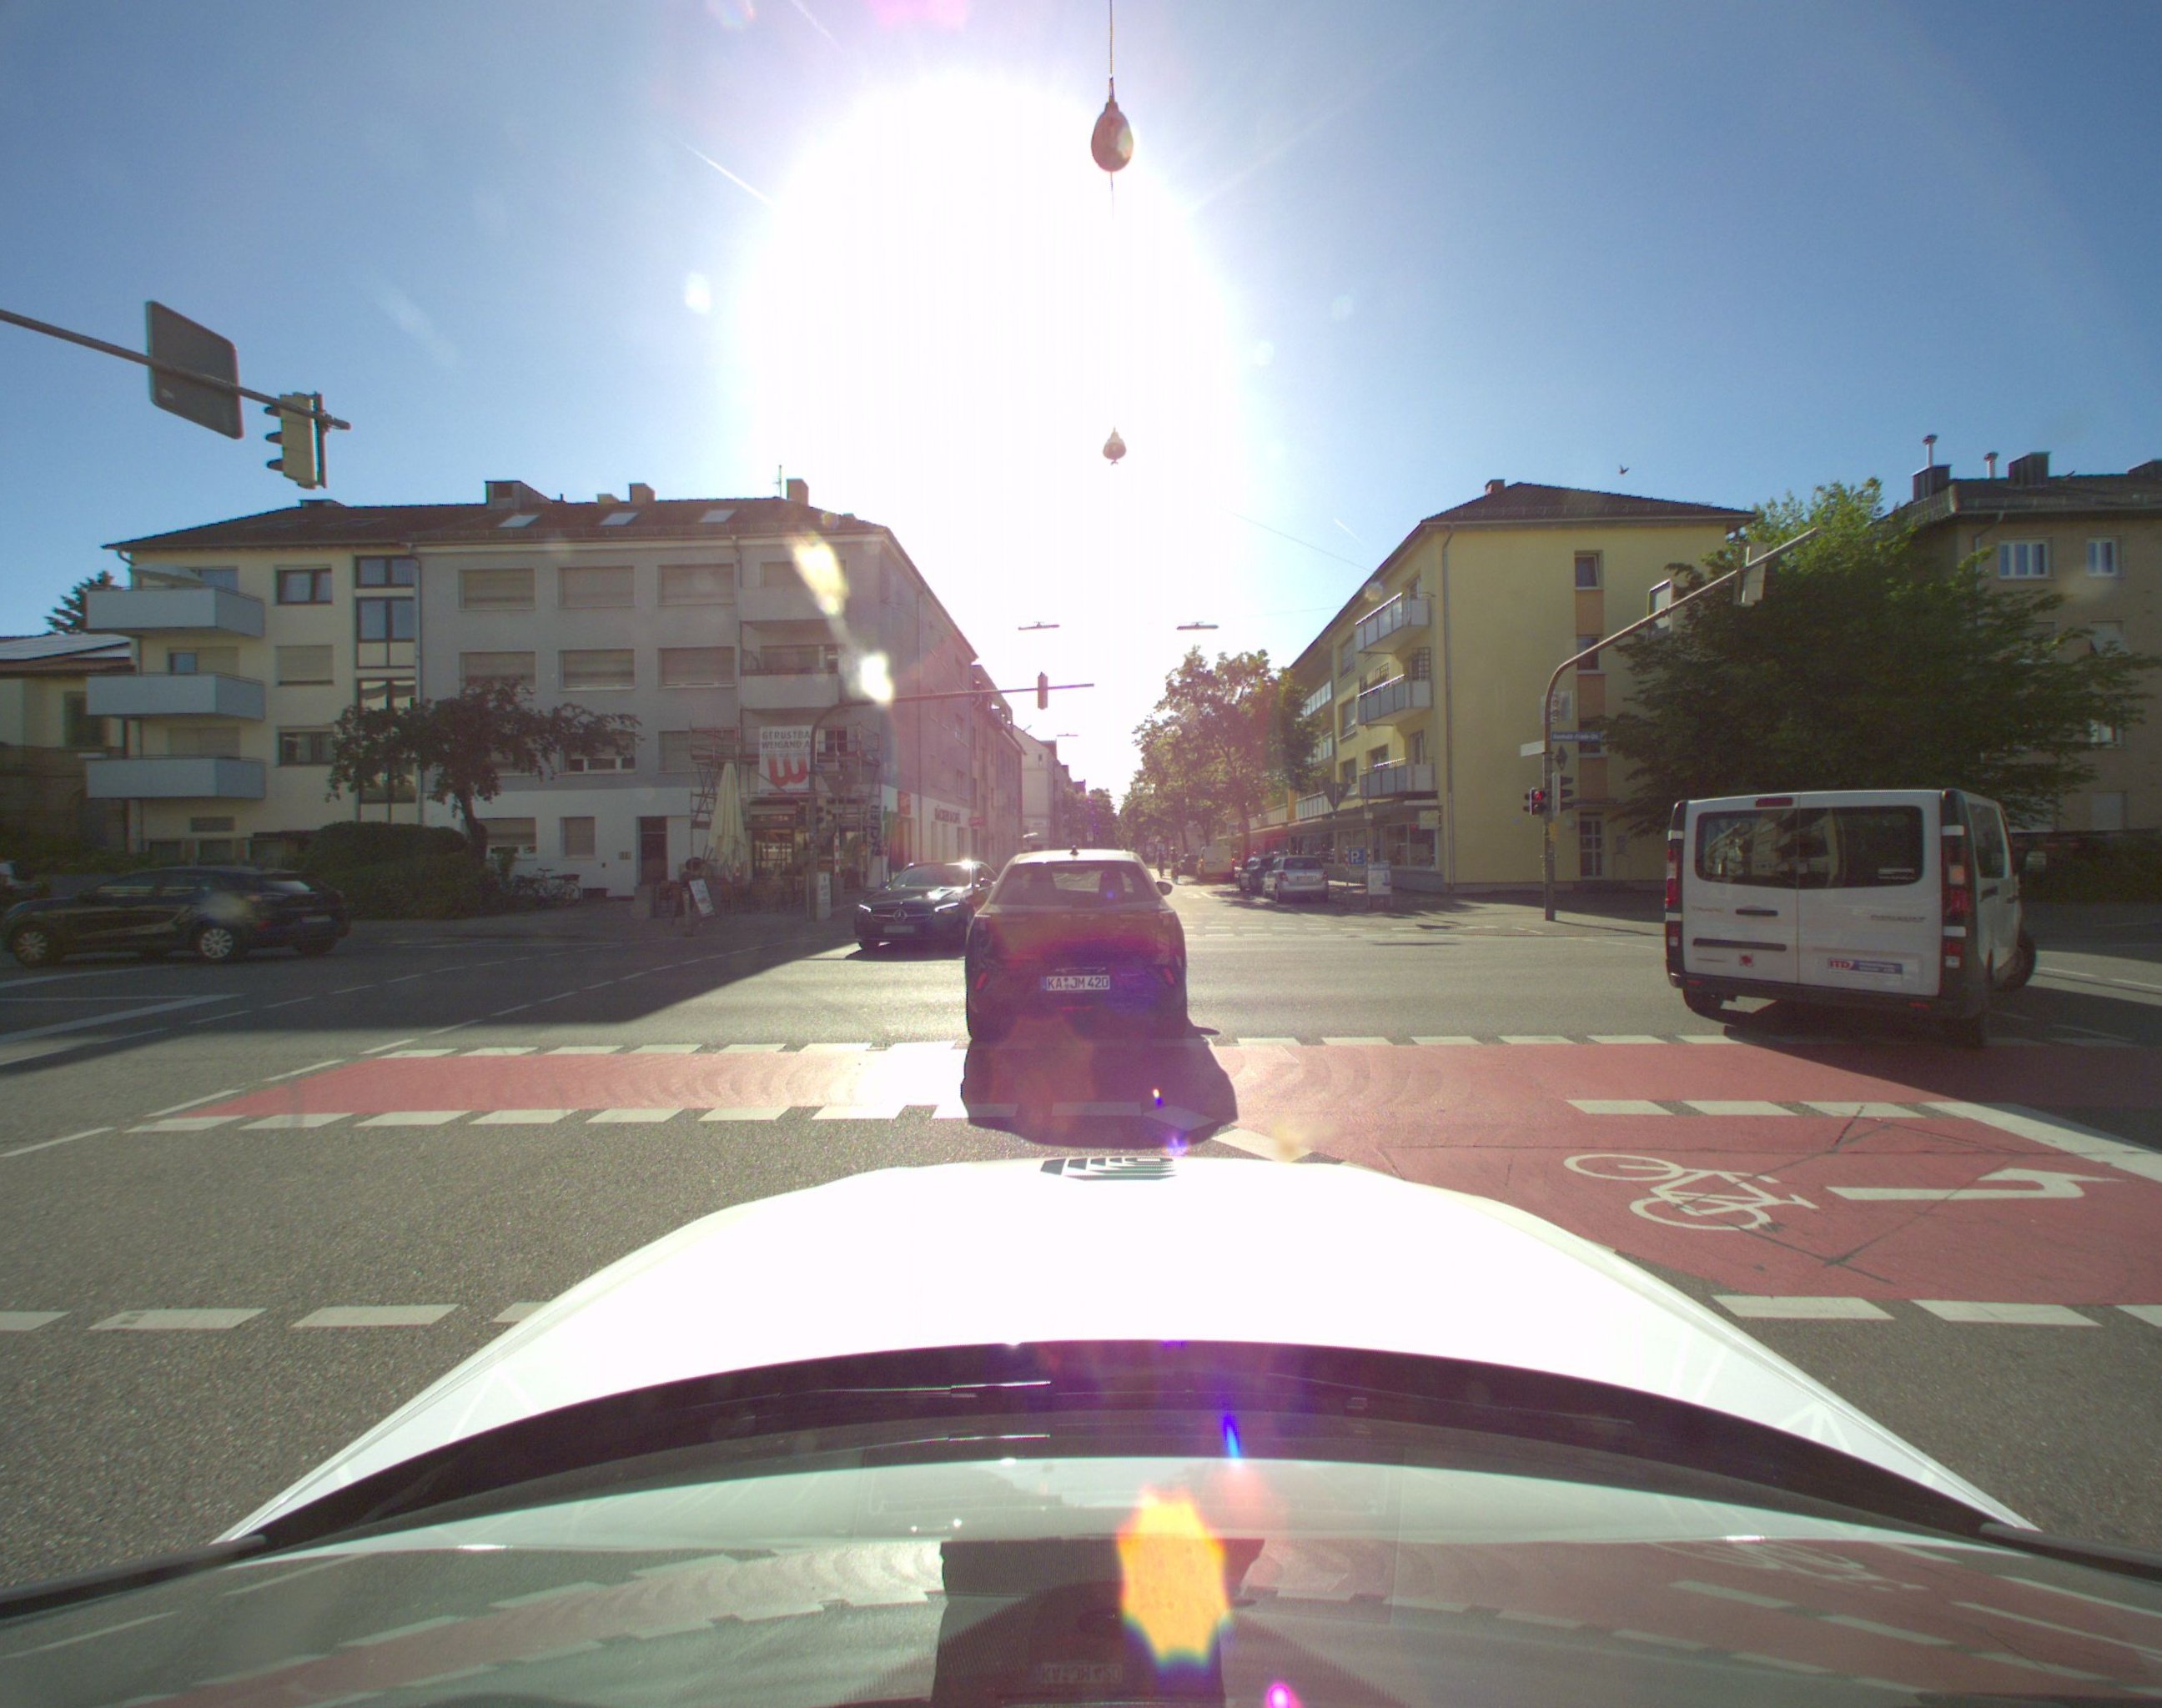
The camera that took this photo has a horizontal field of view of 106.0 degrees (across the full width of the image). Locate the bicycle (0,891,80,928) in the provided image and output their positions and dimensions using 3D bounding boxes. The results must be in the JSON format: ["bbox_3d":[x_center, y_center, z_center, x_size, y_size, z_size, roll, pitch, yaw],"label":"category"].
[{"bbox_3d":[-25.077,1.306,19.257,2.117,0.833,0.555,0,0,1],"label":"bicycle"}]

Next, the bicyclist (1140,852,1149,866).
[{"bbox_3d":[5.276,0.404,67.897,0.689,1.193,0.595,-1,0,3],"label":"bicyclist"}]

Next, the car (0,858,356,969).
[{"bbox_3d":[-14.584,0.905,13.209,4.067,1.566,1.595,-2,-1,-4],"label":"car"}]

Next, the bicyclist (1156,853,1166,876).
[{"bbox_3d":[4.925,0.648,50.322,0.544,1.382,0.823,-1,0,3],"label":"bicyclist"}]

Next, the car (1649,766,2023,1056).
[{"bbox_3d":[7.440,0.404,7.820,5.080,1.940,1.952,1,-1,-39],"label":"car"}]

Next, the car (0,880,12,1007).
[{"bbox_3d":[-14.500,1.085,8.507,4.235,1.435,1.937,0,3,4],"label":"car"}]

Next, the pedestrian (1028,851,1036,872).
[{"bbox_3d":[-3.892,0.597,64.722,0.575,1.583,0.707,-1,0,-3],"label":"pedestrian"}]

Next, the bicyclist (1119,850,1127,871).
[{"bbox_3d":[3.457,0.513,66.633,0.630,1.669,1.051,-1,0,2],"label":"bicyclist"}]

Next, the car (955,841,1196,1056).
[{"bbox_3d":[0.034,0.706,8.000,1.755,1.558,4.002,-1,0,2],"label":"car"}]

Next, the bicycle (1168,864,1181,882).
[{"bbox_3d":[4.747,0.956,41.255,0.544,0.866,1.878,-1,0,4],"label":"bicycle"}]

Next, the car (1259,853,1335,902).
[{"bbox_3d":[7.054,0.711,26.884,1.706,1.483,3.482,-1,0,3],"label":"car"}]

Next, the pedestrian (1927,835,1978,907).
[{"bbox_3d":[19.471,0.377,18.194,0.537,1.571,0.539,-1,0,2],"label":"pedestrian"}]

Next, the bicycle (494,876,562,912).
[{"bbox_3d":[-15.517,1.119,22.863,1.581,0.940,0.513,-1,0,4],"label":"bicycle"}]

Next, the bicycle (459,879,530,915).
[{"bbox_3d":[-15.955,1.168,22.159,1.581,0.940,0.513,-1,0,4],"label":"bicycle"}]

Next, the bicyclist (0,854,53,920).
[{"bbox_3d":[-25.077,0.772,19.264,0.809,1.549,0.555,0,0,1],"label":"bicyclist"}]

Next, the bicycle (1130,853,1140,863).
[{"bbox_3d":[5.196,0.354,78.455,0.853,0.945,2.308,1,0,2],"label":"bicycle"}]

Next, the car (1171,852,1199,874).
[{"bbox_3d":[7.345,0.632,57.857,1.706,1.483,3.383,-1,0,3],"label":"car"}]

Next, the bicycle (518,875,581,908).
[{"bbox_3d":[-15.858,1.115,24.308,1.581,0.940,0.513,-1,0,4],"label":"bicycle"}]

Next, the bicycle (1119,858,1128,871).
[{"bbox_3d":[3.490,0.827,67.009,0.630,1.041,1.796,-1,0,2],"label":"bicycle"}]

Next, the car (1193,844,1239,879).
[{"bbox_3d":[7.475,0.383,45.438,2.037,1.846,4.588,-1,0,4],"label":"car"}]

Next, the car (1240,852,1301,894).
[{"bbox_3d":[7.266,0.693,31.505,1.706,1.483,3.383,-1,0,3],"label":"car"}]

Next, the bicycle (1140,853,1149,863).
[{"bbox_3d":[5.272,0.321,67.796,0.688,0.866,1.878,-1,0,3],"label":"bicycle"}]

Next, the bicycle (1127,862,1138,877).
[{"bbox_3d":[3.225,0.975,50.872,0.617,0.866,1.878,-1,0,4],"label":"bicycle"}]

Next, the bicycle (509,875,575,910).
[{"bbox_3d":[-15.615,1.109,23.607,1.581,0.940,0.513,-1,0,4],"label":"bicycle"}]

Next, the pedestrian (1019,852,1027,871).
[{"bbox_3d":[-4.631,0.606,64.680,0.575,1.467,0.702,-1,0,-3],"label":"pedestrian"}]

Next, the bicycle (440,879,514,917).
[{"bbox_3d":[-15.856,1.162,21.385,1.581,0.940,0.513,-1,0,4],"label":"bicycle"}]

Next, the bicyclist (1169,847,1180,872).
[{"bbox_3d":[4.738,0.258,41.291,0.544,1.262,0.803,-1,0,3],"label":"bicyclist"}]

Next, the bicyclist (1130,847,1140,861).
[{"bbox_3d":[5.196,0.042,78.340,0.853,1.314,1.211,1,0,2],"label":"bicyclist"}]

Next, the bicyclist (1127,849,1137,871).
[{"bbox_3d":[3.213,0.369,50.905,0.586,1.382,0.823,-1,0,3],"label":"bicyclist"}]

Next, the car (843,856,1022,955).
[{"bbox_3d":[-2.436,0.799,14.623,1.795,1.413,4.436,-3,0,8],"label":"car"}]

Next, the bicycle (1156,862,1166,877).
[{"bbox_3d":[4.928,0.973,50.272,0.544,0.866,1.878,-1,0,4],"label":"bicycle"}]
